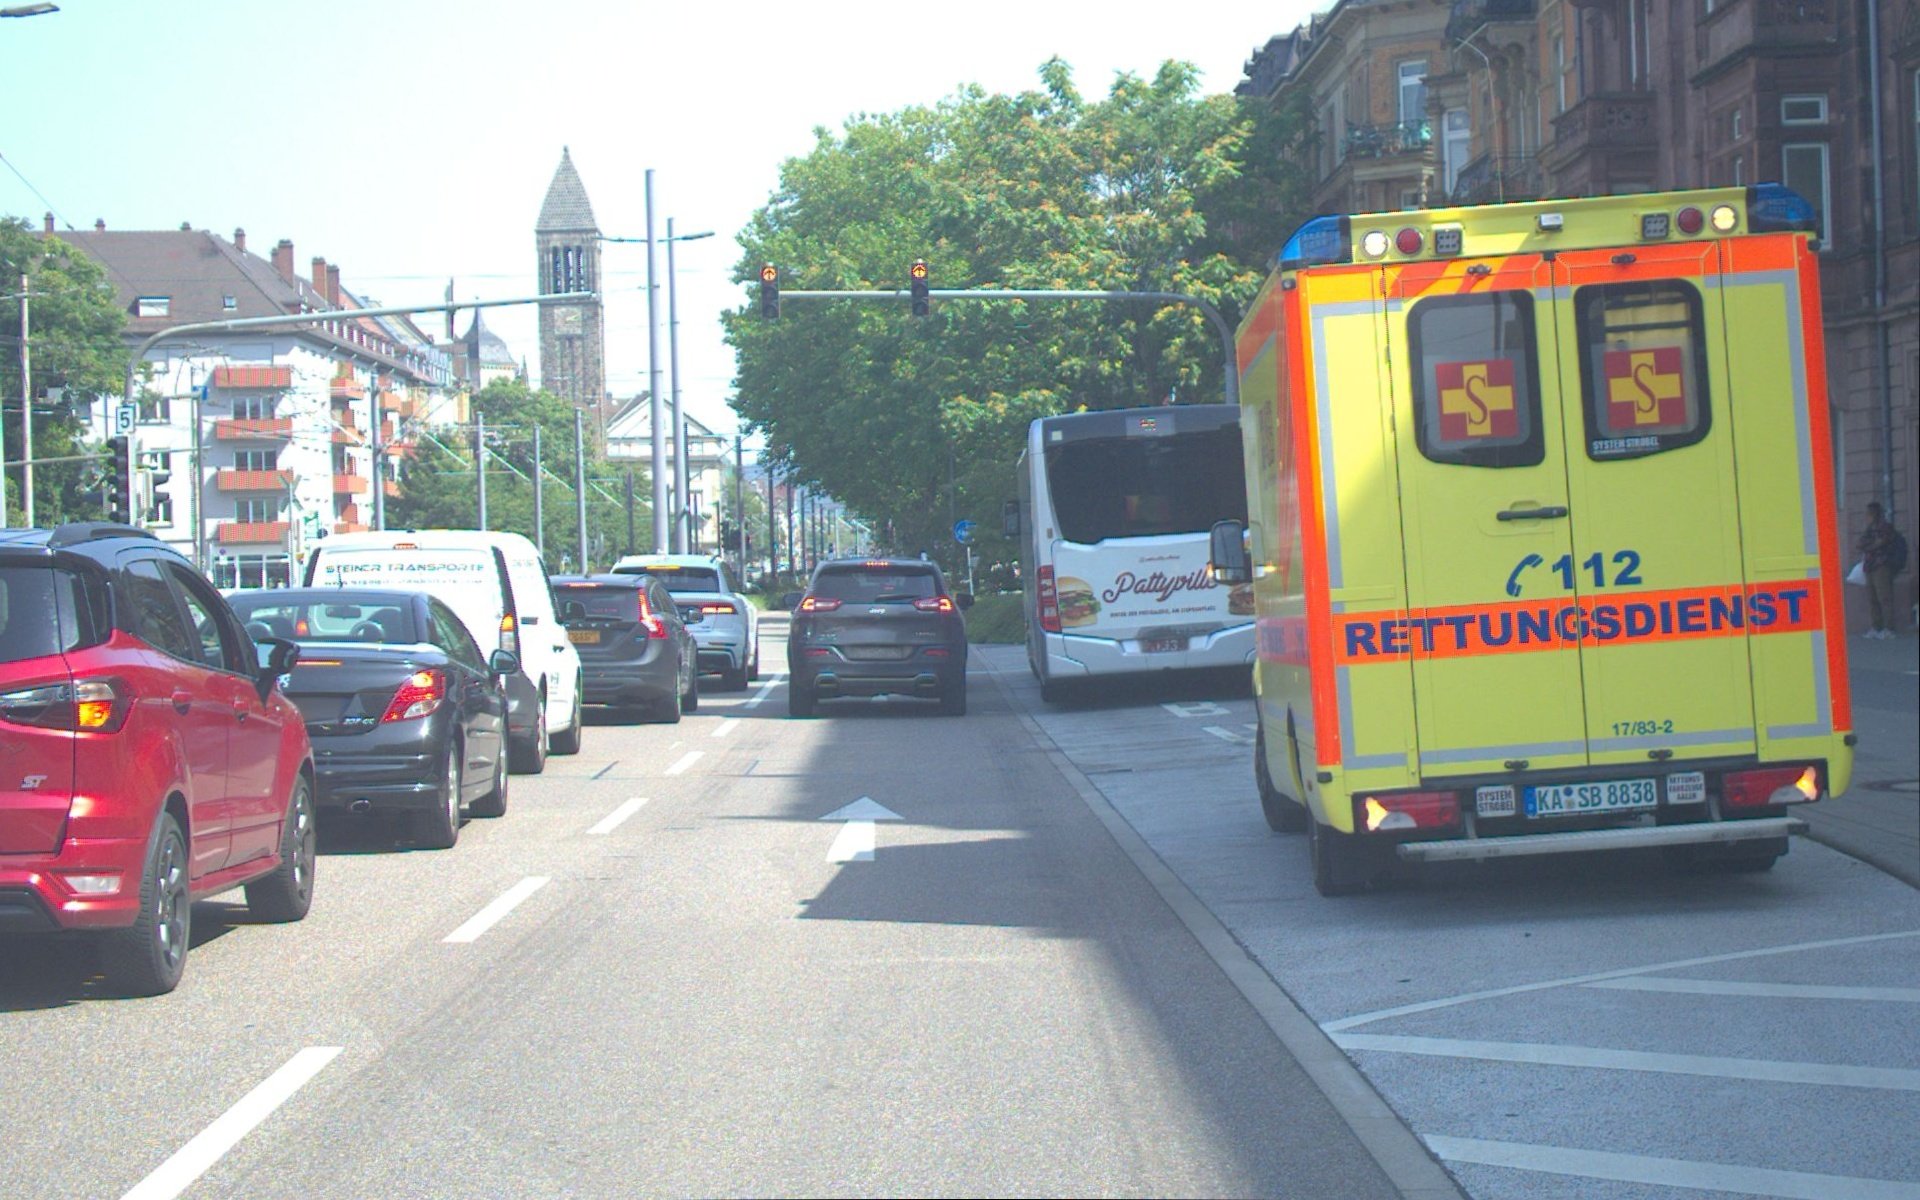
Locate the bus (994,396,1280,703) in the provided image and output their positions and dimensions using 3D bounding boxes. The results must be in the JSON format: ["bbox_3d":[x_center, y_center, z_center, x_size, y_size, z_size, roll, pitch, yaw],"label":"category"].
[{"bbox_3d":[1.843,-0.586,40.782,2.534,3.021,12.436,-2,1,-1],"label":"bus"}]

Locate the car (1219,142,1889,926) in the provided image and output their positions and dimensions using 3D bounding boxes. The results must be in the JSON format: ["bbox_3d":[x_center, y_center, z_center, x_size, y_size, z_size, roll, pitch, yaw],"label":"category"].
[{"bbox_3d":[2.465,-0.298,15.863,2.299,2.878,5.599,-3,1,3],"label":"car"}]

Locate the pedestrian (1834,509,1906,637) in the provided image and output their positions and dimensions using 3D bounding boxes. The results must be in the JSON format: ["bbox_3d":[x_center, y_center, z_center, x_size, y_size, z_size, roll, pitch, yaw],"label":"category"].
[{"bbox_3d":[11.437,-0.342,43.218,0.622,1.588,0.696,-2,1,-6],"label":"pedestrian"}]

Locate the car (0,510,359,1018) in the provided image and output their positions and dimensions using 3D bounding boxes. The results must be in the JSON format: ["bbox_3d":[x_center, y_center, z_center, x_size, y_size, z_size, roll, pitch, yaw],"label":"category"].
[{"bbox_3d":[-3.571,0.509,13.019,1.762,1.612,4.082,-2,1,1],"label":"car"}]

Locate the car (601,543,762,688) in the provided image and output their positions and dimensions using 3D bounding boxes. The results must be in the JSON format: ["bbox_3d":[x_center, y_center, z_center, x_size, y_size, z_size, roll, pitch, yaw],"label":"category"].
[{"bbox_3d":[-3.431,0.187,42.953,1.790,1.692,4.000,-1,0,-2],"label":"car"}]

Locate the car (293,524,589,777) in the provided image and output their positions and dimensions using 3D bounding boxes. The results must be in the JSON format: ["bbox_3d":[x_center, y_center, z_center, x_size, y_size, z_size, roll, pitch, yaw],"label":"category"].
[{"bbox_3d":[-3.938,0.361,26.658,1.790,1.774,4.000,-1,0,-2],"label":"car"}]

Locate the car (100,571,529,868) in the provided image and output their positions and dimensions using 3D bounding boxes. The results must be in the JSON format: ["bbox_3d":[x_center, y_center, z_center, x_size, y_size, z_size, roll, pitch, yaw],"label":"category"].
[{"bbox_3d":[-3.529,0.590,19.469,1.790,1.426,4.001,-2,1,-2],"label":"car"}]

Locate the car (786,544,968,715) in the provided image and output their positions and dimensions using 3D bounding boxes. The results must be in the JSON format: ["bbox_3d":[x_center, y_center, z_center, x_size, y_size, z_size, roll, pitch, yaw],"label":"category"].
[{"bbox_3d":[-0.897,0.297,36.418,1.790,1.672,4.000,-1,0,-2],"label":"car"}]

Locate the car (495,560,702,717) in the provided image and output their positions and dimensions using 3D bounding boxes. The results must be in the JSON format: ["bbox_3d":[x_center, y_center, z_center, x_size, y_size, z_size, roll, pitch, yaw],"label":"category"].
[{"bbox_3d":[-3.618,0.374,35.007,1.790,1.467,4.000,-1,0,-2],"label":"car"}]
